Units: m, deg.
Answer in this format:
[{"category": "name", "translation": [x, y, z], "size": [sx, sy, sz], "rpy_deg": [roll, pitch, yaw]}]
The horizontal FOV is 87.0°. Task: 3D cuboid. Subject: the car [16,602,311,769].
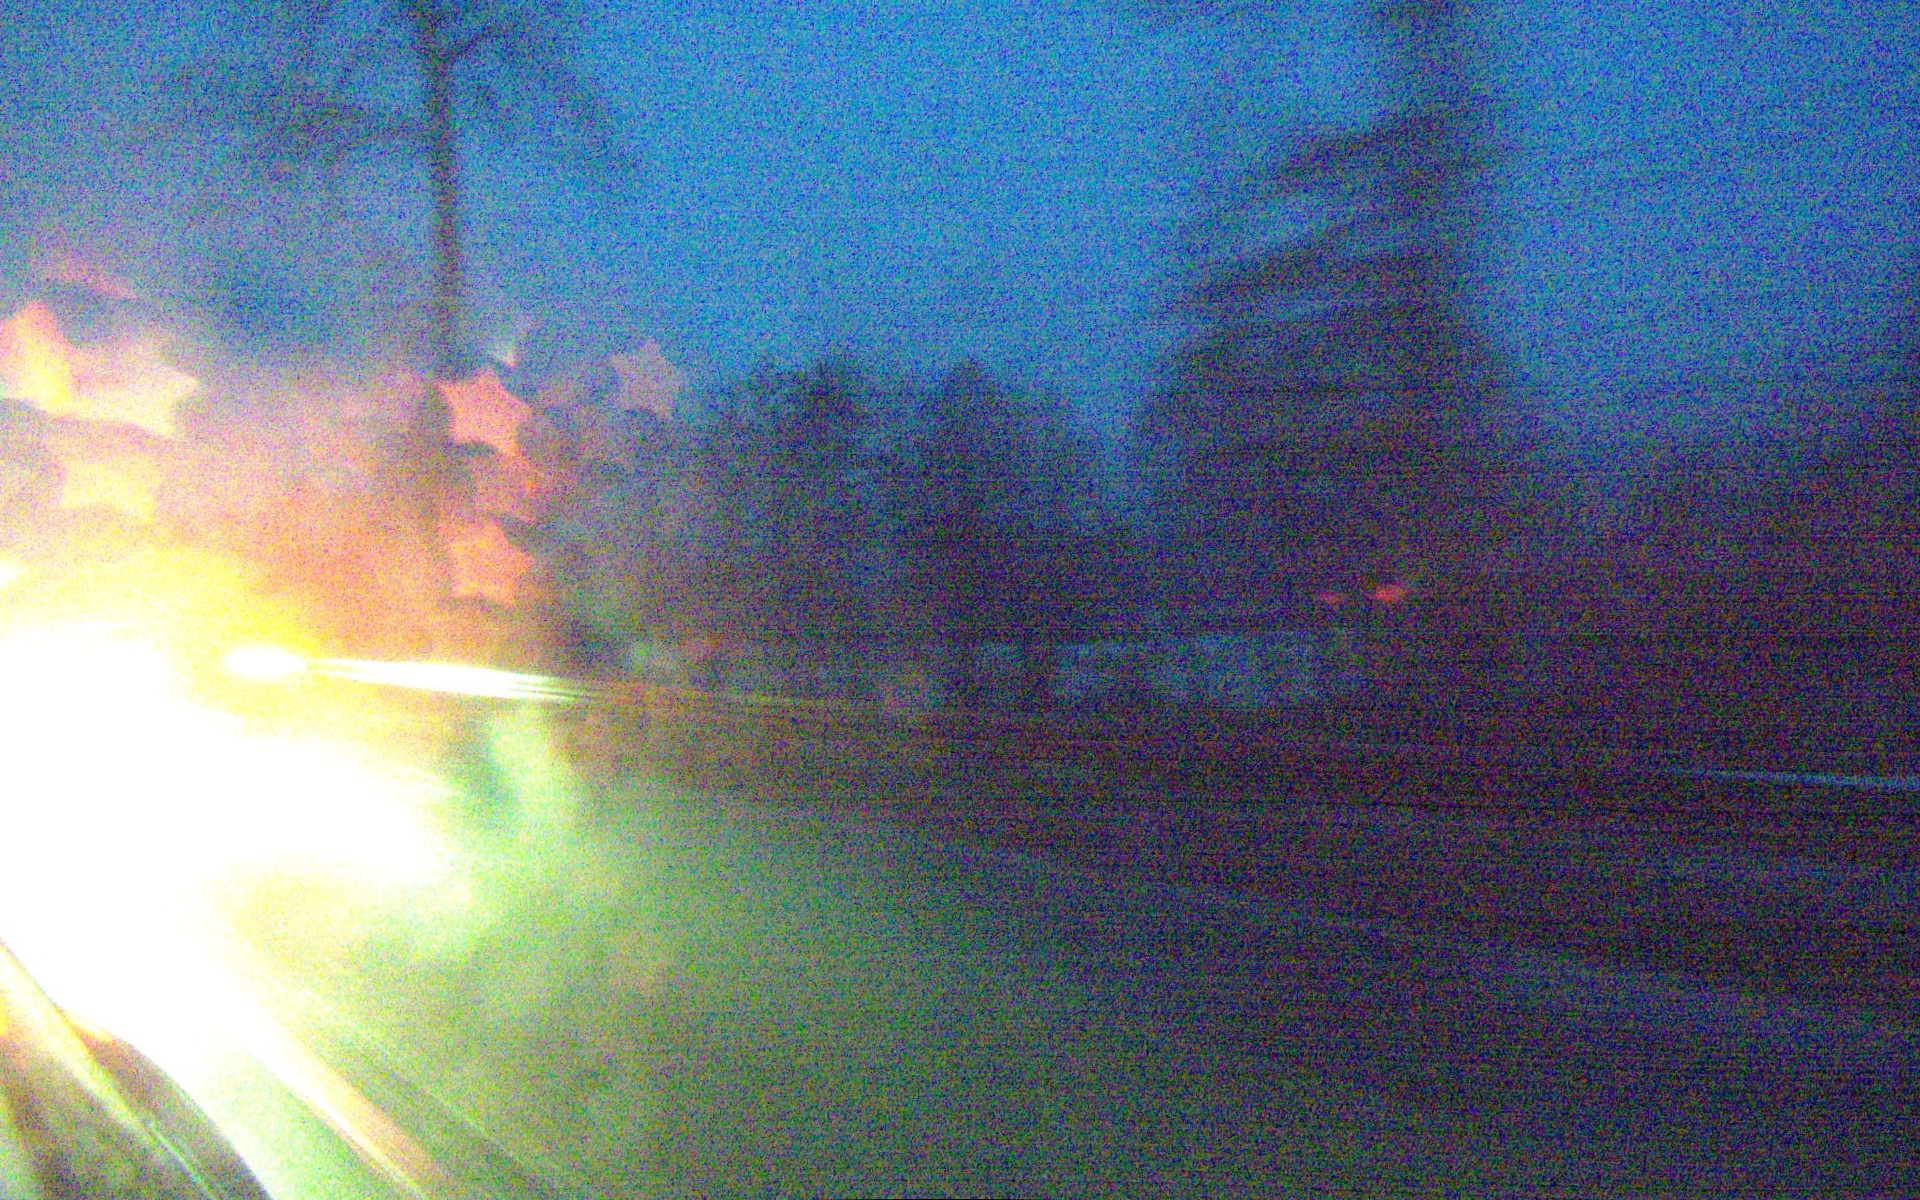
[{"category": "car", "translation": [-8.970, 0.821, 11.234], "size": [4.574, 1.482, 1.899], "rpy_deg": [-2, -2, 43]}]
